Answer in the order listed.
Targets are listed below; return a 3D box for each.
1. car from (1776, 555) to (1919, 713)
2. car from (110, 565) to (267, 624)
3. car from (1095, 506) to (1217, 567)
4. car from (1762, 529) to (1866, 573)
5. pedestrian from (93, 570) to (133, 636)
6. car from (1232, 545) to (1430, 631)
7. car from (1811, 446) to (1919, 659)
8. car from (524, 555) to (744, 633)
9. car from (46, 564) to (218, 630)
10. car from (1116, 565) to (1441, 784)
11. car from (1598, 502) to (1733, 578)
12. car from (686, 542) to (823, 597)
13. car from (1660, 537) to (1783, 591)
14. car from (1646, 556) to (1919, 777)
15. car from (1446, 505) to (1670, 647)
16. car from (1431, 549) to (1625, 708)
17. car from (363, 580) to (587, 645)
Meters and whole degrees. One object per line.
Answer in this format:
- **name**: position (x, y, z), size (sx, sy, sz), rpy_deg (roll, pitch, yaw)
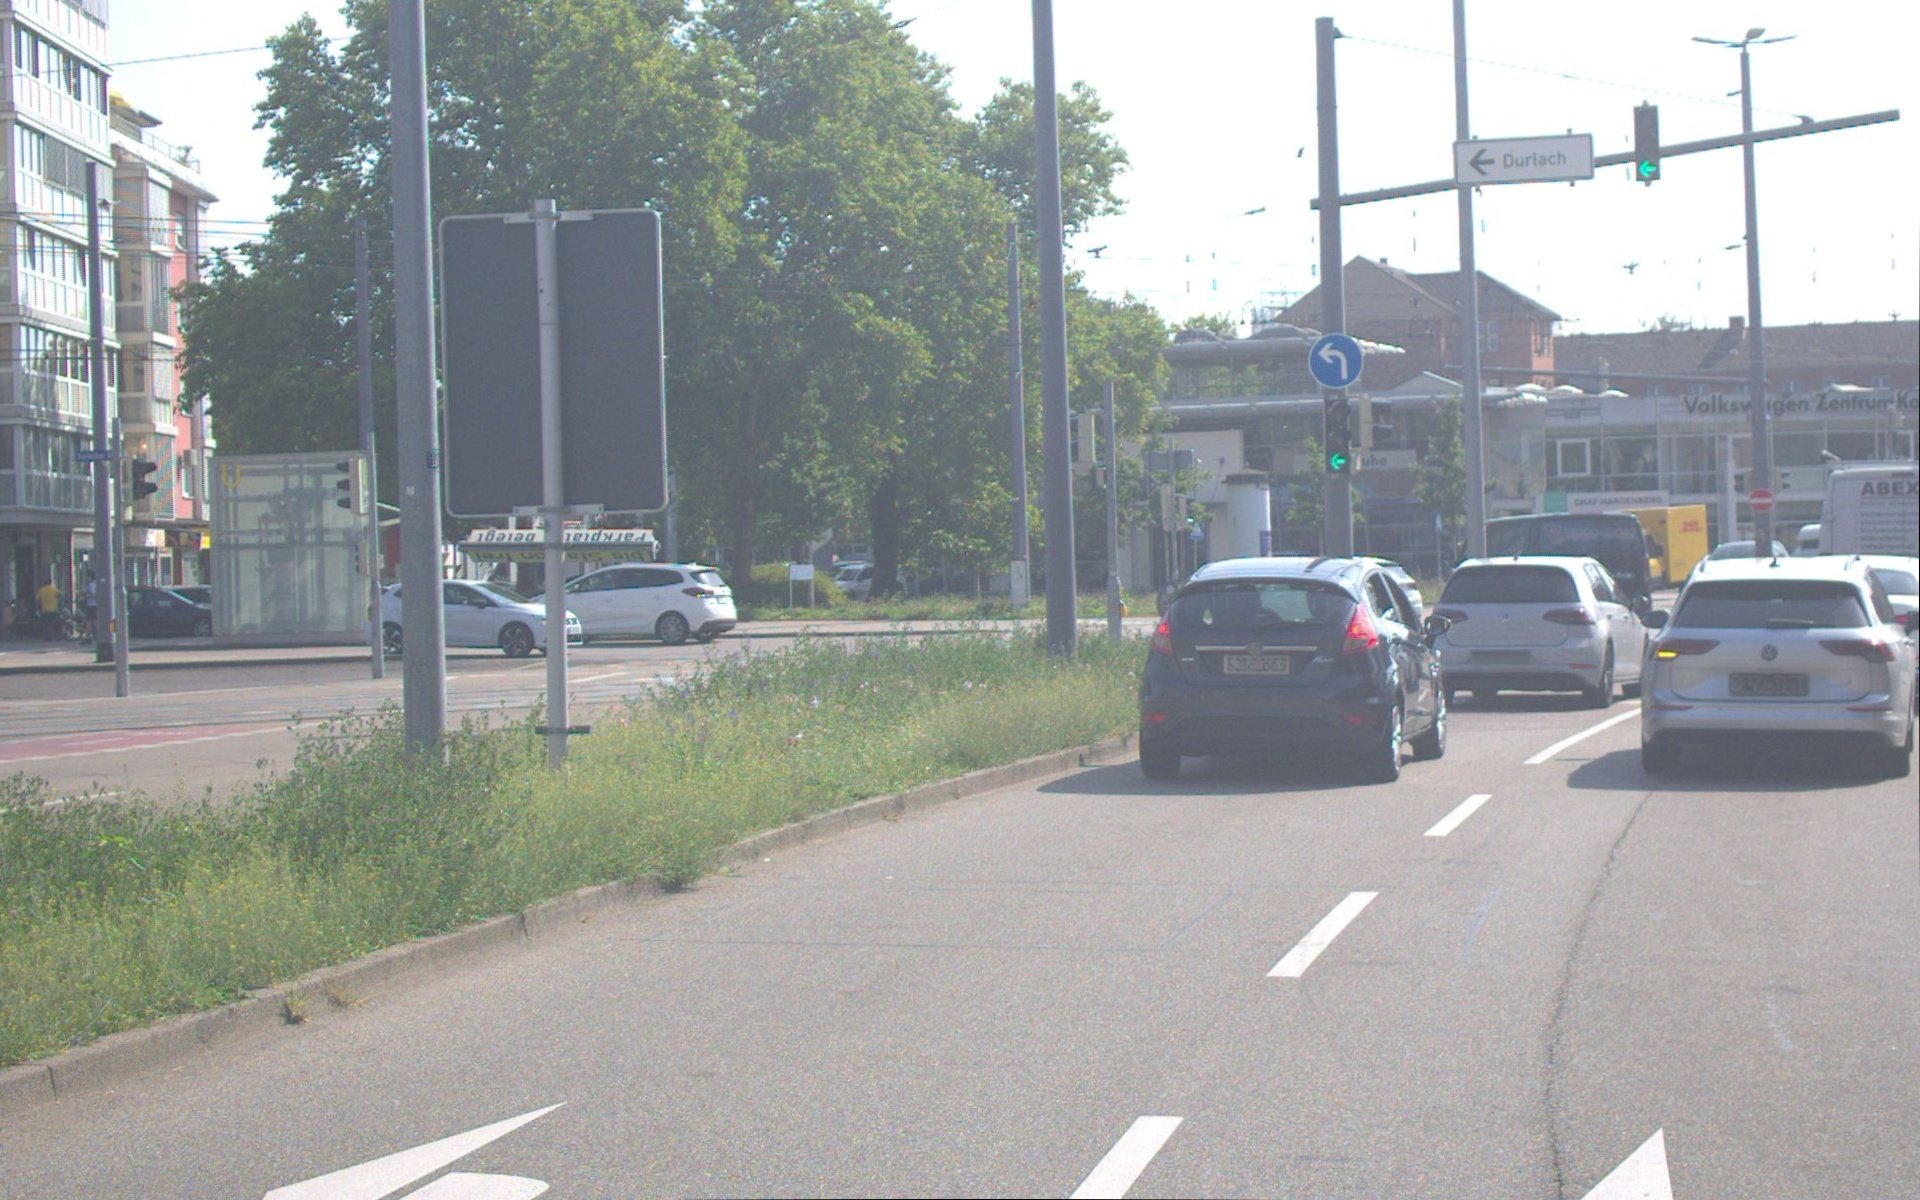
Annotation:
- **car**: position (8.481, 0.292, 32.436), size (1.490, 1.398, 3.940), rpy_deg (-1, 0, 13)
- **car**: position (-21.708, -0.161, 96.876), size (3.987, 1.552, 1.869), rpy_deg (-1, 1, -1)
- **car**: position (6.885, -2.240, 120.488), size (3.989, 2.006, 1.999), rpy_deg (-1, 3, 11)
- **car**: position (26.318, -1.524, 105.844), size (1.898, 1.276, 4.125), rpy_deg (-1, 1, 32)
- **pedestrian**: position (-20.787, 0.071, 84.372), size (0.850, 1.615, 0.542), rpy_deg (-1, 0, -4)
- **car**: position (6.802, -0.249, 63.385), size (1.564, 1.369, 3.998), rpy_deg (-3, 4, -29)
- **car**: position (11.950, -0.583, 43.452), size (2.190, 2.540, 4.680), rpy_deg (-1, 0, 15)
- **car**: position (-6.550, -0.117, 69.160), size (4.079, 1.497, 1.626), rpy_deg (-1, 0, 19)
- **car**: position (-21.673, -0.086, 90.070), size (3.987, 1.552, 1.869), rpy_deg (-1, 3, 1)
- **car**: position (2.261, 0.459, 23.508), size (1.702, 1.363, 3.961), rpy_deg (-1, 0, 13)
- **car**: position (19.326, -1.656, 94.023), size (1.997, 2.007, 4.655), rpy_deg (-1, 1, 34)
- **car**: position (-6.138, -0.919, 102.942), size (3.987, 1.552, 1.728), rpy_deg (-1, 1, -1)
- **car**: position (20.035, -0.953, 90.340), size (1.898, 1.320, 4.125), rpy_deg (-1, 1, 31)
- **car**: position (5.605, 0.411, 23.469), size (1.686, 1.383, 3.632), rpy_deg (-1, 0, 13)
- **car**: position (8.880, -0.373, 51.463), size (2.023, 2.001, 4.684), rpy_deg (-1, 1, -7)
- **car**: position (5.580, 0.239, 33.502), size (1.490, 1.410, 3.645), rpy_deg (-1, 1, 15)
- **car**: position (-9.055, 0.227, 64.272), size (3.831, 1.176, 1.575), rpy_deg (0, 0, 13)
